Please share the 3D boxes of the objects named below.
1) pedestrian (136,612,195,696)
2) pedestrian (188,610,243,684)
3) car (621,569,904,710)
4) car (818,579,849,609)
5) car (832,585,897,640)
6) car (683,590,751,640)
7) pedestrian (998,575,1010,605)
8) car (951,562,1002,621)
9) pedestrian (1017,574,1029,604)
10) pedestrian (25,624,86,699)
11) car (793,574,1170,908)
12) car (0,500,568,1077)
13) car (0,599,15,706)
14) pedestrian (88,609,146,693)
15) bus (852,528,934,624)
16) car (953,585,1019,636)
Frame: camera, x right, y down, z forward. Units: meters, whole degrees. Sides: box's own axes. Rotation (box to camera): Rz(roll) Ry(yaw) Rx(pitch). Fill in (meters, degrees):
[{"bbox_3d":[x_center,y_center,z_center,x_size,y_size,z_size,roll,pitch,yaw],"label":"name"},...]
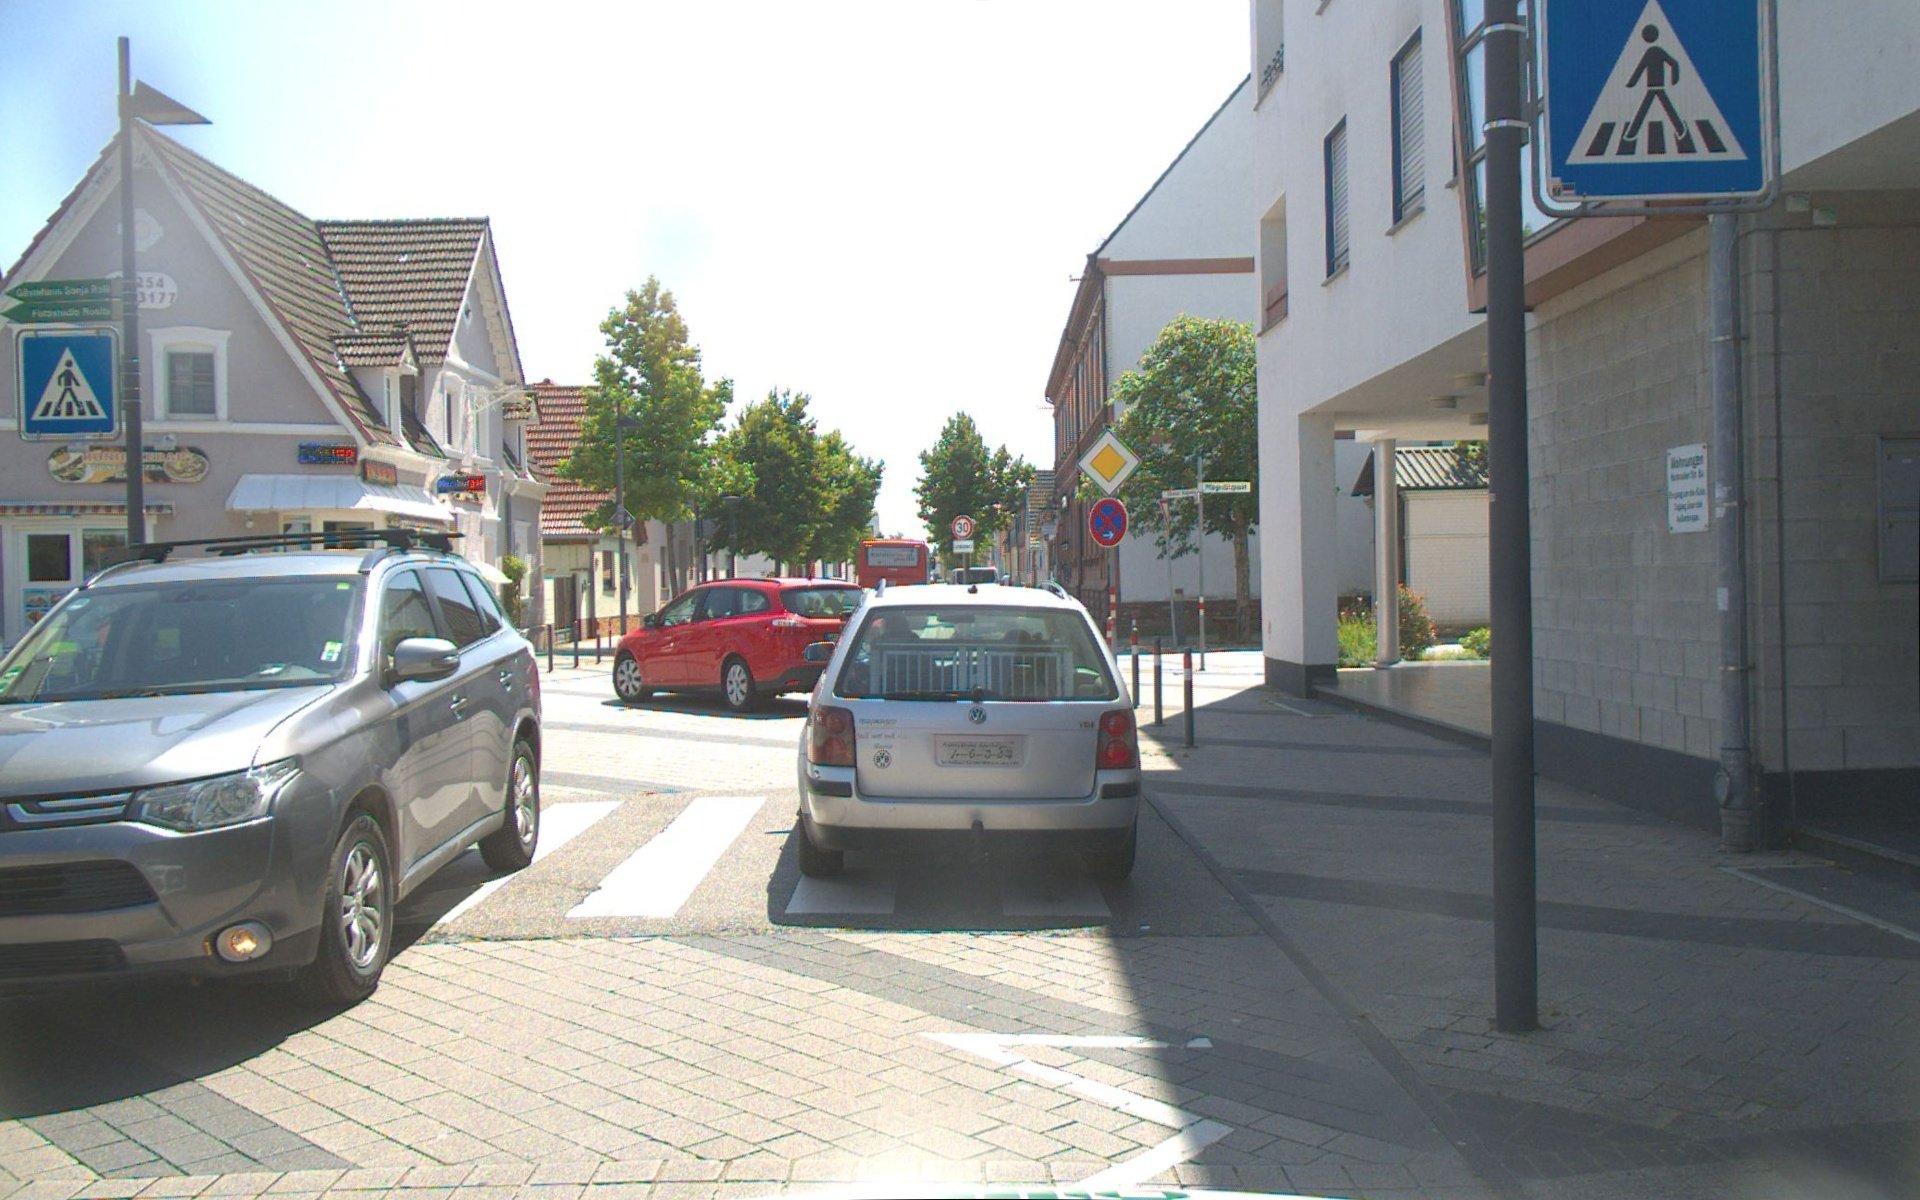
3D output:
[{"bbox_3d":[-12.677,0.849,26.393,0.631,1.311,0.776,1,0,-44],"label":"pedestrian"},{"bbox_3d":[-12.387,0.775,27.538,0.610,1.199,0.696,-1,0,-5],"label":"pedestrian"},{"bbox_3d":[-2.394,0.418,19.387,1.665,1.455,3.629,-2,1,-38],"label":"car"},{"bbox_3d":[-7.927,-0.385,103.927,1.685,1.833,3.999,-1,0,-1],"label":"car"},{"bbox_3d":[-2.588,0.320,45.385,1.561,1.455,3.679,0,0,0],"label":"car"},{"bbox_3d":[-7.498,0.430,51.347,1.572,1.463,4.064,-1,0,-1],"label":"car"},{"bbox_3d":[2.558,-0.588,96.664,0.594,1.696,0.789,-1,0,-2],"label":"pedestrian"},{"bbox_3d":[0.586,-0.321,61.981,1.751,2.118,3.625,-1,0,-1],"label":"car"},{"bbox_3d":[3.657,-0.650,96.296,0.594,1.696,0.789,-1,0,-2],"label":"pedestrian"},{"bbox_3d":[-14.119,0.947,25.815,0.631,1.135,0.776,1,0,-44],"label":"pedestrian"},{"bbox_3d":[0.070,0.606,9.132,1.643,1.455,3.679,1,0,-1],"label":"car"},{"bbox_3d":[-2.986,0.566,7.173,1.641,1.746,4.231,-1,1,-2],"label":"car"},{"bbox_3d":[-16.195,0.854,24.146,3.855,1.572,1.511,-2,2,-18],"label":"car"},{"bbox_3d":[-13.591,0.815,26.660,0.631,1.311,0.776,1,0,-44],"label":"pedestrian"},{"bbox_3d":[-2.468,-0.875,64.734,2.684,3.356,12.704,-1,0,0],"label":"bus"},{"bbox_3d":[0.696,0.265,46.703,1.684,1.332,3.625,-1,0,-1],"label":"car"}]
